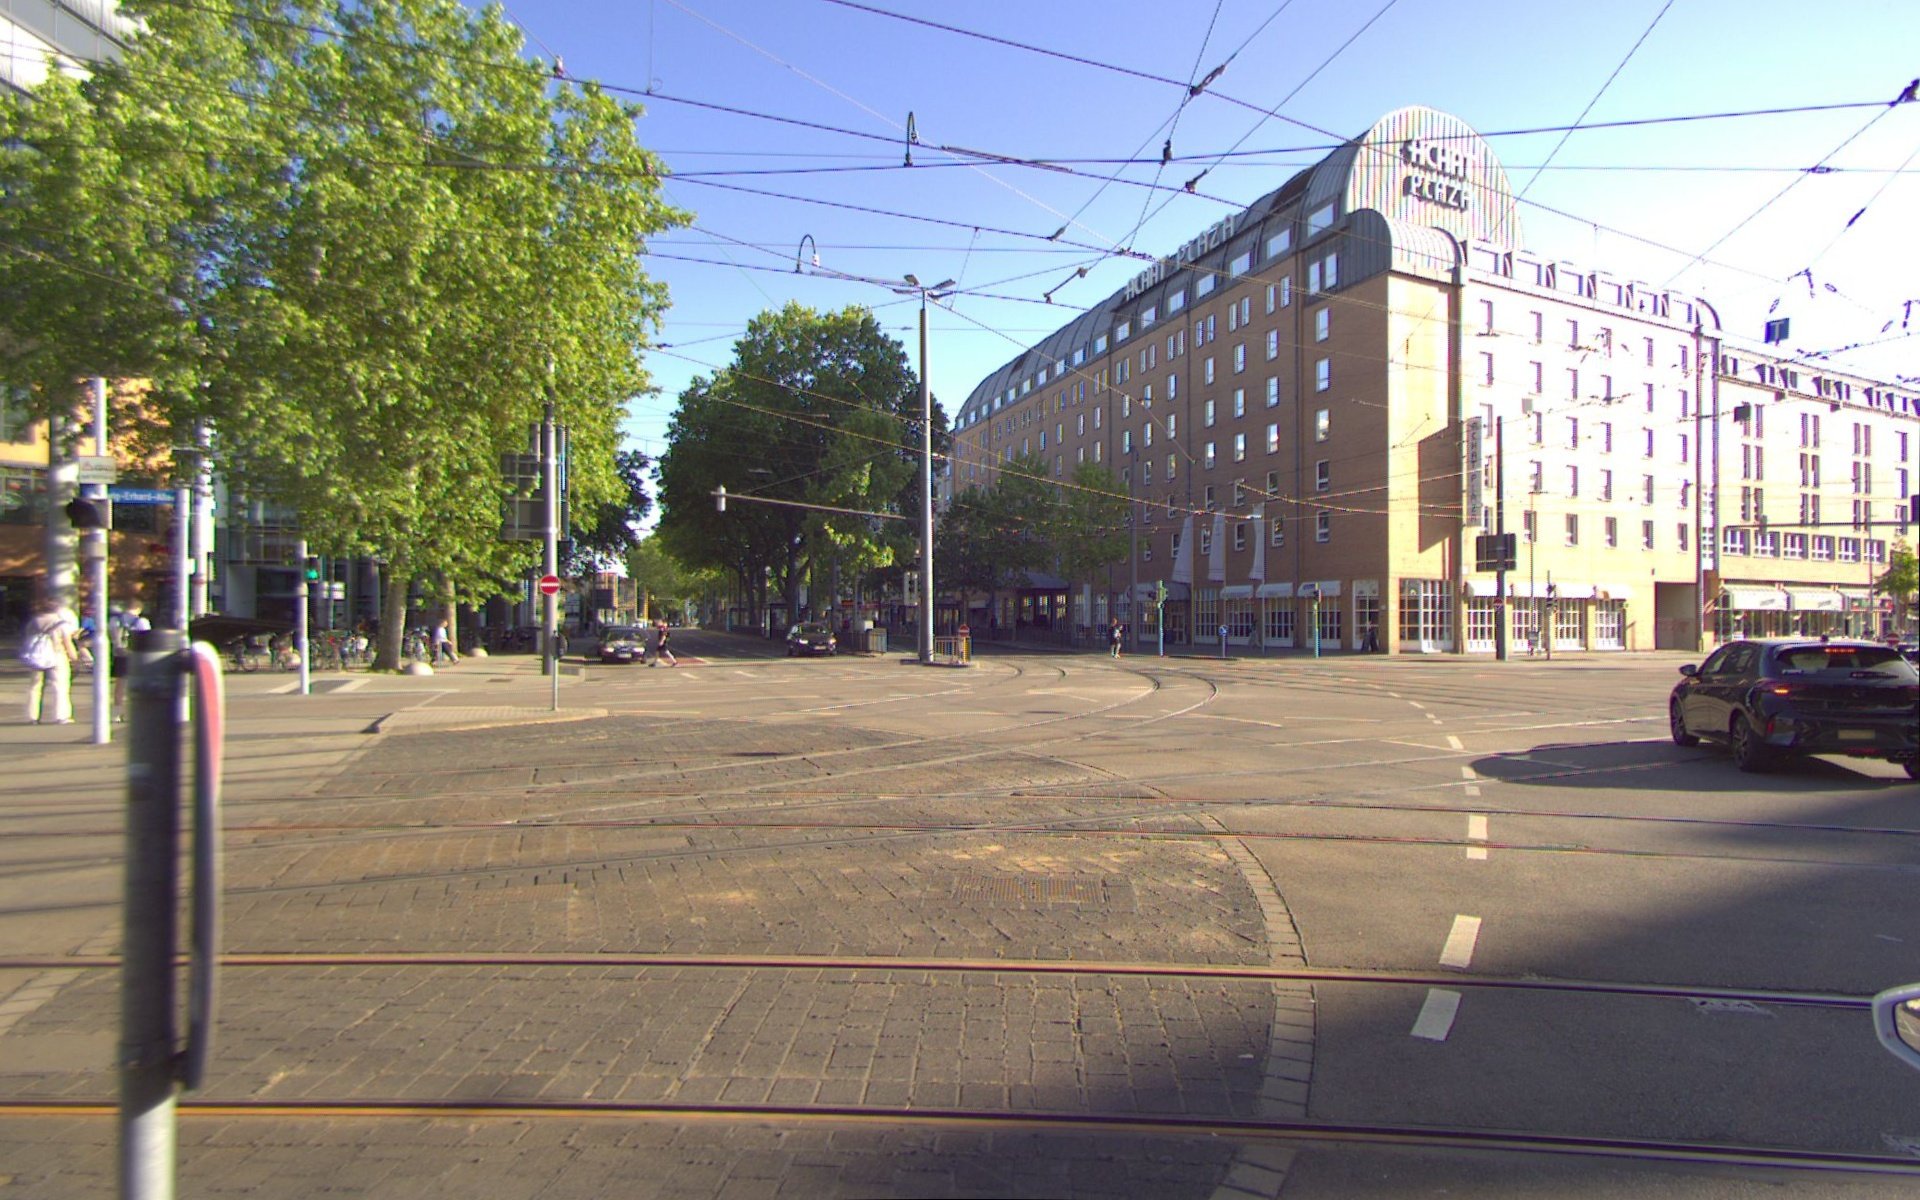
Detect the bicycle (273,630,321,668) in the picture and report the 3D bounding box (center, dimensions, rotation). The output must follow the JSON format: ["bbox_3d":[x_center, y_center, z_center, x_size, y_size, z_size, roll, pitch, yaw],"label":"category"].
[{"bbox_3d":[-21.122,1.535,32.047,0.589,1.143,2.359,0,-1,-16],"label":"bicycle"}]

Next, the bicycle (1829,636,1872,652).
[{"bbox_3d":[55.469,2.739,62.590,0.475,0.933,2.034,0,-2,-16],"label":"bicycle"}]

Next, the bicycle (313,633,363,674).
[{"bbox_3d":[-18.145,1.539,29.355,0.589,1.143,2.360,0,-1,-15],"label":"bicycle"}]

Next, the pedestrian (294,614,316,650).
[{"bbox_3d":[-30.650,1.485,46.994,0.687,1.674,0.703,1,-1,-18],"label":"pedestrian"}]

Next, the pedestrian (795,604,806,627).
[{"bbox_3d":[-11.572,1.126,72.706,0.476,1.594,0.671,1,1,25],"label":"pedestrian"}]

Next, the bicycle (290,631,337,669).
[{"bbox_3d":[-20.316,1.552,31.597,0.589,1.143,2.359,0,-1,-16],"label":"bicycle"}]

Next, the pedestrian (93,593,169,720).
[{"bbox_3d":[-12.708,0.855,15.418,0.662,1.894,0.731,0,-1,-19],"label":"pedestrian"}]

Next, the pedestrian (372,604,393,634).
[{"bbox_3d":[-31.915,1.036,55.526,0.685,1.644,0.734,0,-1,15],"label":"pedestrian"}]

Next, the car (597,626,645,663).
[{"bbox_3d":[-13.674,1.800,40.719,1.644,1.425,3.987,1,-2,-16],"label":"car"}]

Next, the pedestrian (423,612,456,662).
[{"bbox_3d":[-18.263,1.302,35.278,0.816,1.702,0.715,-1,-1,-9],"label":"pedestrian"}]

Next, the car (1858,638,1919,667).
[{"bbox_3d":[43.764,2.429,46.589,4.177,1.285,1.832,1,-3,-29],"label":"car"}]

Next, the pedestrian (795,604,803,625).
[{"bbox_3d":[-12.099,1.095,75.416,0.555,1.594,0.638,1,1,-6],"label":"pedestrian"}]

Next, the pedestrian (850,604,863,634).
[{"bbox_3d":[-6.278,1.152,60.981,0.627,1.853,0.740,1,-1,-23],"label":"pedestrian"}]

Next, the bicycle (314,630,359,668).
[{"bbox_3d":[-19.669,1.534,31.723,0.589,1.143,2.359,0,-1,-16],"label":"bicycle"}]

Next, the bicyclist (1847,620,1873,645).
[{"bbox_3d":[51.088,1.854,57.018,0.914,1.395,0.807,1,-2,-28],"label":"bicyclist"}]

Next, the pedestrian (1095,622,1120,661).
[{"bbox_3d":[6.622,1.848,45.194,0.820,1.702,0.712,-1,-1,-24],"label":"pedestrian"}]

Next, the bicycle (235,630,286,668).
[{"bbox_3d":[-22.134,1.538,31.832,0.589,1.143,2.359,0,-1,-16],"label":"bicycle"}]

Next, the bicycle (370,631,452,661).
[{"bbox_3d":[-25.651,2.128,46.932,3.324,1.371,1.026,1,-1,-32],"label":"bicycle"}]

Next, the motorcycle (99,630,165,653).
[{"bbox_3d":[-39.192,1.947,47.582,2.299,1.072,0.831,0,-1,-8],"label":"motorcycle"}]

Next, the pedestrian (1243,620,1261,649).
[{"bbox_3d":[17.251,2.021,59.376,0.731,1.688,0.749,0,-1,-24],"label":"pedestrian"}]

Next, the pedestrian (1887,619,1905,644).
[{"bbox_3d":[65.863,2.229,70.657,0.557,1.787,0.715,1,-2,-24],"label":"pedestrian"}]

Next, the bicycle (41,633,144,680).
[{"bbox_3d":[-21.865,1.419,25.364,1.821,1.152,0.691,0,-1,-17],"label":"bicycle"}]

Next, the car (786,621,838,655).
[{"bbox_3d":[-6.658,1.694,44.988,1.645,1.433,3.985,1,-2,-18],"label":"car"}]

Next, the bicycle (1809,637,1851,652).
[{"bbox_3d":[54.217,2.779,62.605,0.475,0.933,2.034,0,-2,-16],"label":"bicycle"}]

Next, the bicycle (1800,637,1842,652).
[{"bbox_3d":[53.053,2.736,61.946,0.475,0.856,2.034,0,-2,-16],"label":"bicycle"}]

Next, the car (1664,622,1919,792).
[{"bbox_3d":[9.665,1.096,11.714,1.645,1.522,3.687,3,1,24],"label":"car"}]

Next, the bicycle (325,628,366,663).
[{"bbox_3d":[-20.774,1.523,33.984,0.589,1.143,2.359,0,-1,-16],"label":"bicycle"}]

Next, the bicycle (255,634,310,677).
[{"bbox_3d":[-19.432,1.573,28.868,0.589,1.143,2.360,0,-1,-15],"label":"bicycle"}]

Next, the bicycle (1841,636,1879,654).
[{"bbox_3d":[51.111,2.532,57.011,2.477,1.004,0.806,1,-2,-28],"label":"bicycle"}]

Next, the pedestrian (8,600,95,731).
[{"bbox_3d":[-13.511,0.960,14.957,0.688,1.894,0.731,0,-1,-17],"label":"pedestrian"}]

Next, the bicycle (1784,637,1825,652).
[{"bbox_3d":[51.631,2.719,61.432,0.475,0.856,2.034,0,-2,-16],"label":"bicycle"}]

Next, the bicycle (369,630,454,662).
[{"bbox_3d":[-24.889,2.065,45.632,3.324,1.371,1.026,1,-1,-32],"label":"bicycle"}]

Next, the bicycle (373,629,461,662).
[{"bbox_3d":[-23.759,1.981,43.970,3.324,1.371,1.026,1,-1,-32],"label":"bicycle"}]

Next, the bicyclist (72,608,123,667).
[{"bbox_3d":[-21.799,0.942,25.391,0.742,1.480,0.692,0,-1,-16],"label":"bicyclist"}]

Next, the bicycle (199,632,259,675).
[{"bbox_3d":[-21.010,1.512,28.924,0.589,1.143,2.360,0,-1,-15],"label":"bicycle"}]

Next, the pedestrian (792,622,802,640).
[{"bbox_3d":[-10.823,2.080,66.578,0.581,1.179,0.744,0,-1,-3],"label":"pedestrian"}]

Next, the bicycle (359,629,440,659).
[{"bbox_3d":[-26.779,2.086,48.033,3.324,1.371,1.026,1,-1,-32],"label":"bicycle"}]

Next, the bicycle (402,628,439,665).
[{"bbox_3d":[-17.590,1.503,32.784,0.589,1.143,2.359,0,-1,-16],"label":"bicycle"}]

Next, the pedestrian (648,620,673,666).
[{"bbox_3d":[-11.207,1.597,37.600,0.817,1.702,0.714,-1,-1,-15],"label":"pedestrian"}]

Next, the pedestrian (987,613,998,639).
[{"bbox_3d":[2.151,1.696,66.766,0.596,1.702,0.484,-1,-1,-18],"label":"pedestrian"}]

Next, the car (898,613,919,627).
[{"bbox_3d":[-6.263,2.448,122.471,1.650,1.674,3.677,1,-1,-17],"label":"car"}]

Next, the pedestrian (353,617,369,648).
[{"bbox_3d":[-34.782,1.883,58.331,0.688,1.737,0.731,0,-1,-19],"label":"pedestrian"}]

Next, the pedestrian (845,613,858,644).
[{"bbox_3d":[-6.649,1.730,61.439,0.580,1.853,0.745,0,-1,13],"label":"pedestrian"}]
